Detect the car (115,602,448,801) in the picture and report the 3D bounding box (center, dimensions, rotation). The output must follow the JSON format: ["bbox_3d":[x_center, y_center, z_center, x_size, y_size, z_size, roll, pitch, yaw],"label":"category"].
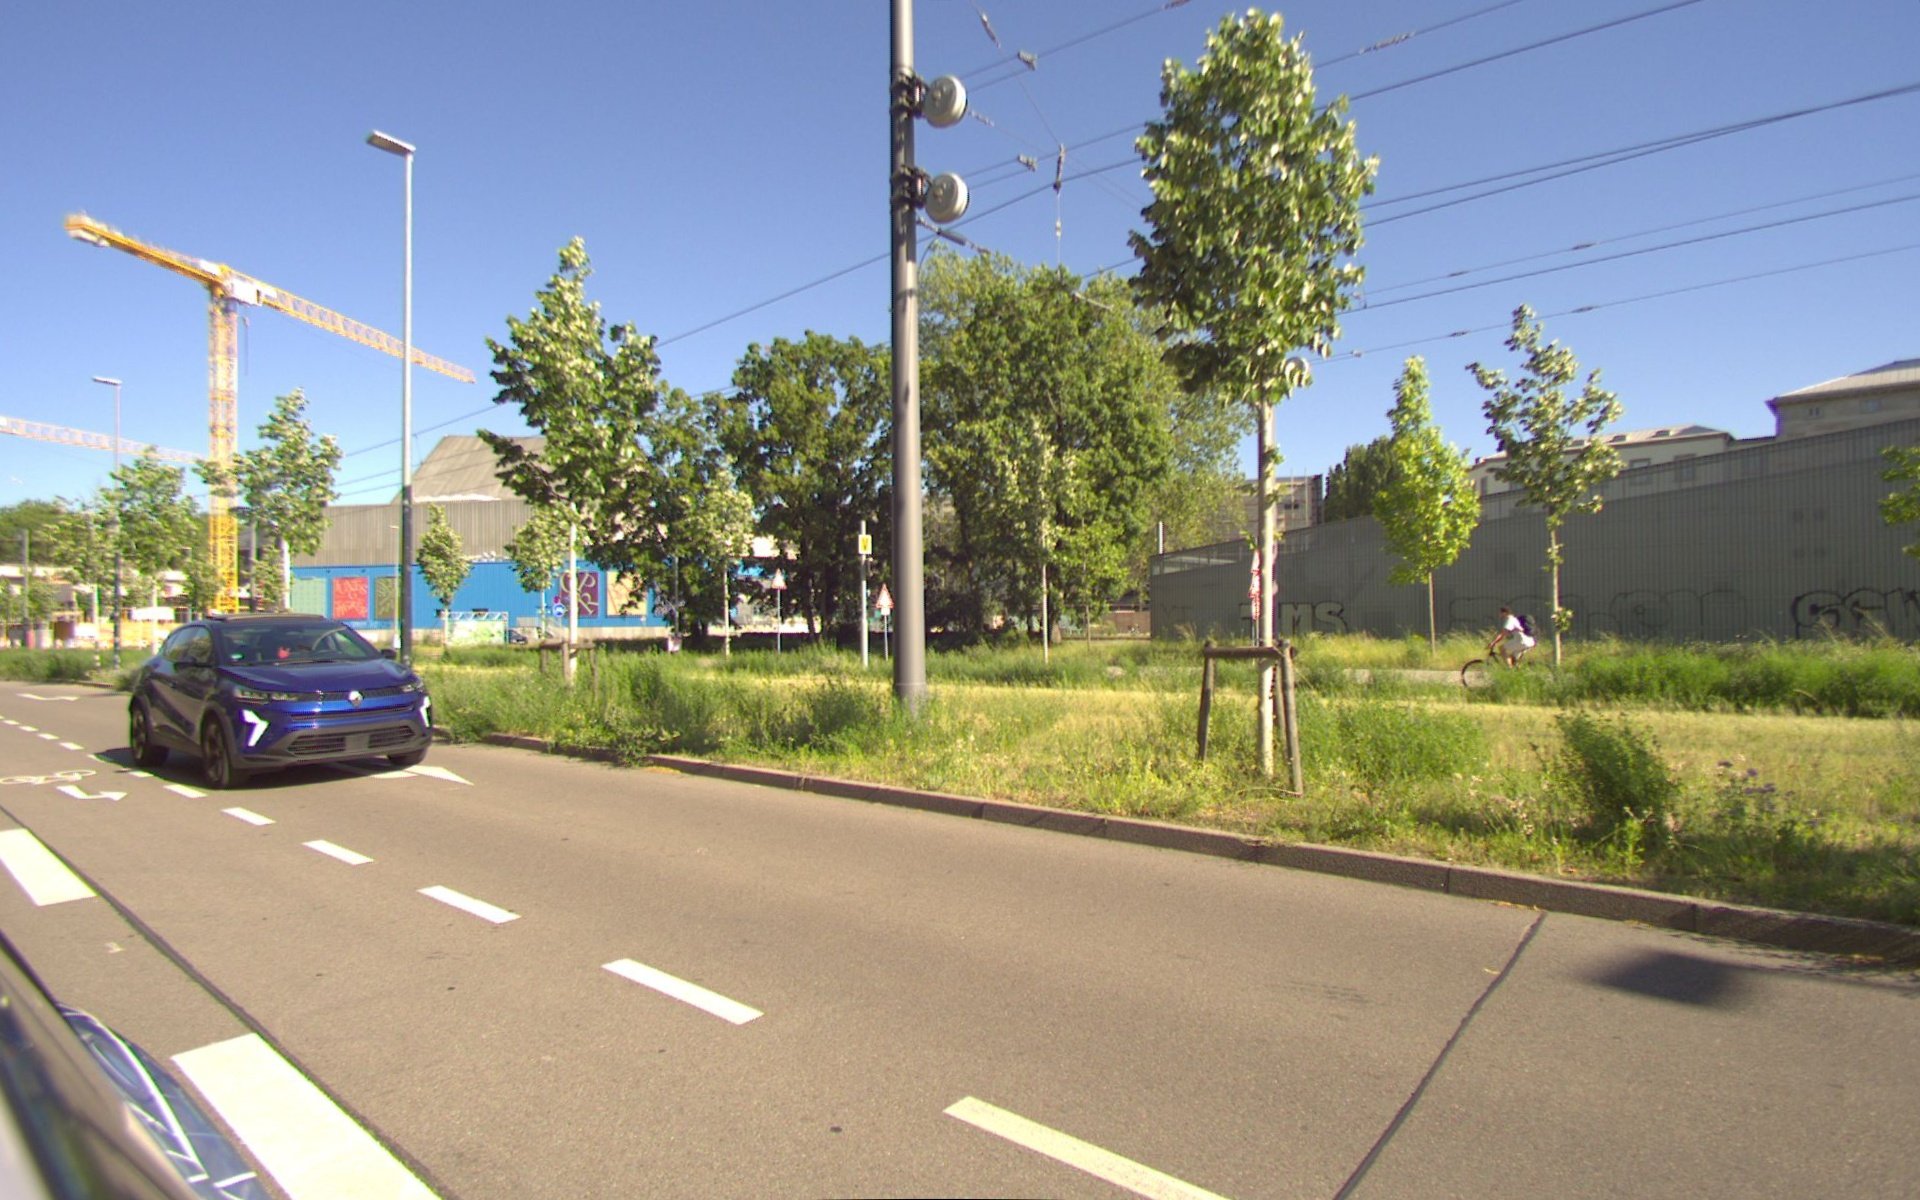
[{"bbox_3d":[-7.098,0.915,10.423,4.148,1.635,1.727,-2,-1,40],"label":"car"}]

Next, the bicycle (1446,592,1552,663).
[{"bbox_3d":[11.417,0.596,21.498,1.912,1.466,0.356,-3,-2,41],"label":"bicycle"}]

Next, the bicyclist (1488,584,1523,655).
[{"bbox_3d":[11.518,0.417,21.374,0.539,1.465,0.390,-2,0,40],"label":"bicyclist"}]

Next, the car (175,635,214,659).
[{"bbox_3d":[-63.932,3.925,84.516,3.998,1.811,1.779,-1,1,41],"label":"car"}]

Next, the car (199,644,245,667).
[{"bbox_3d":[-49.217,3.680,67.469,3.829,1.409,1.617,-2,-2,39],"label":"car"}]
